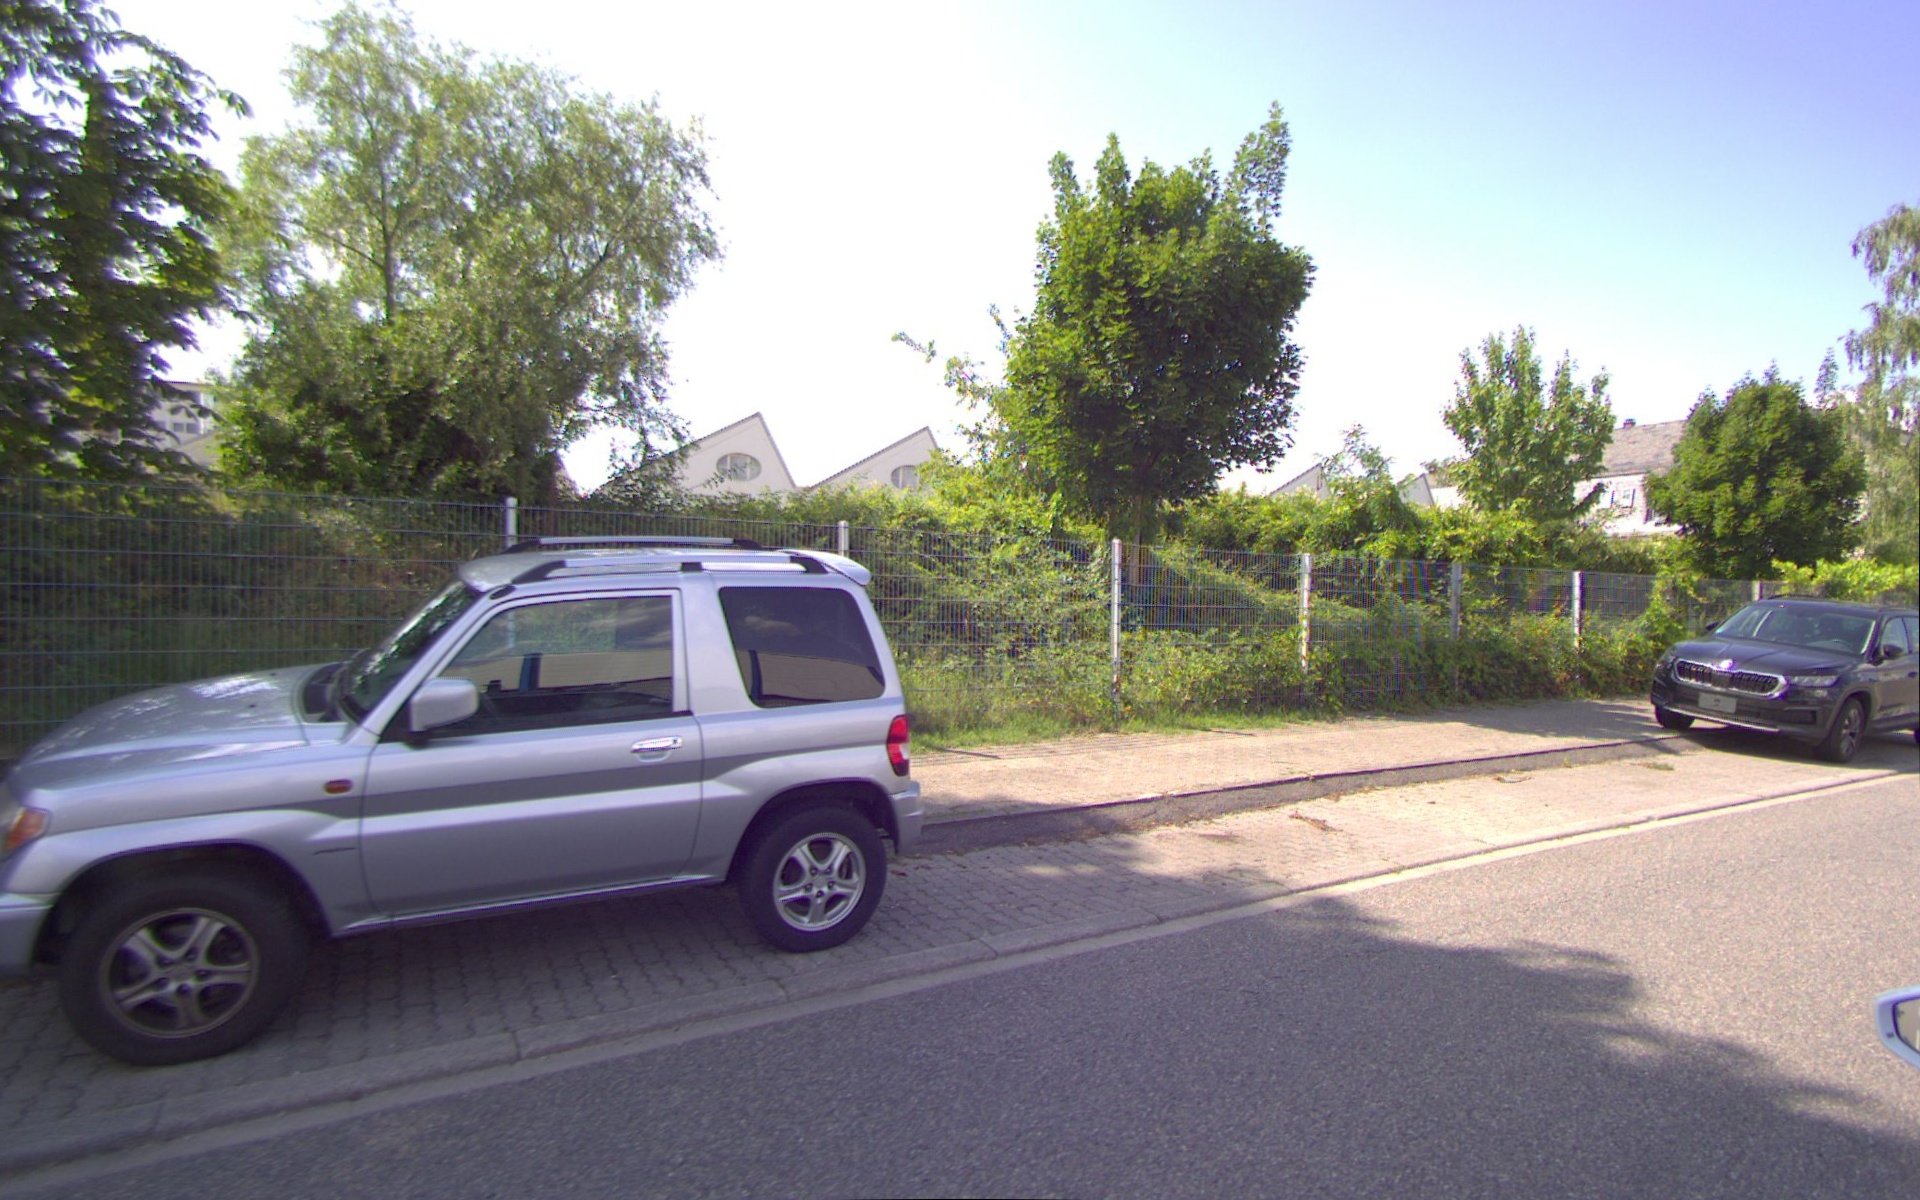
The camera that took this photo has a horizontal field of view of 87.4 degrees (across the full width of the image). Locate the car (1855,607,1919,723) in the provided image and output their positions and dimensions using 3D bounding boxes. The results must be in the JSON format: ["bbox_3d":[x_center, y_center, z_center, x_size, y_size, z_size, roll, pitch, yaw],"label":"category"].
[{"bbox_3d":[15.529,0.940,15.133,4.731,1.616,1.691,1,1,-31],"label":"car"}]

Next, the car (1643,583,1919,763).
[{"bbox_3d":[10.277,0.746,11.996,4.581,1.769,1.603,1,3,-30],"label":"car"}]

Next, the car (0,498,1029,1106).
[{"bbox_3d":[-1.766,0.569,4.568,3.780,1.826,1.692,1,5,-29],"label":"car"}]
